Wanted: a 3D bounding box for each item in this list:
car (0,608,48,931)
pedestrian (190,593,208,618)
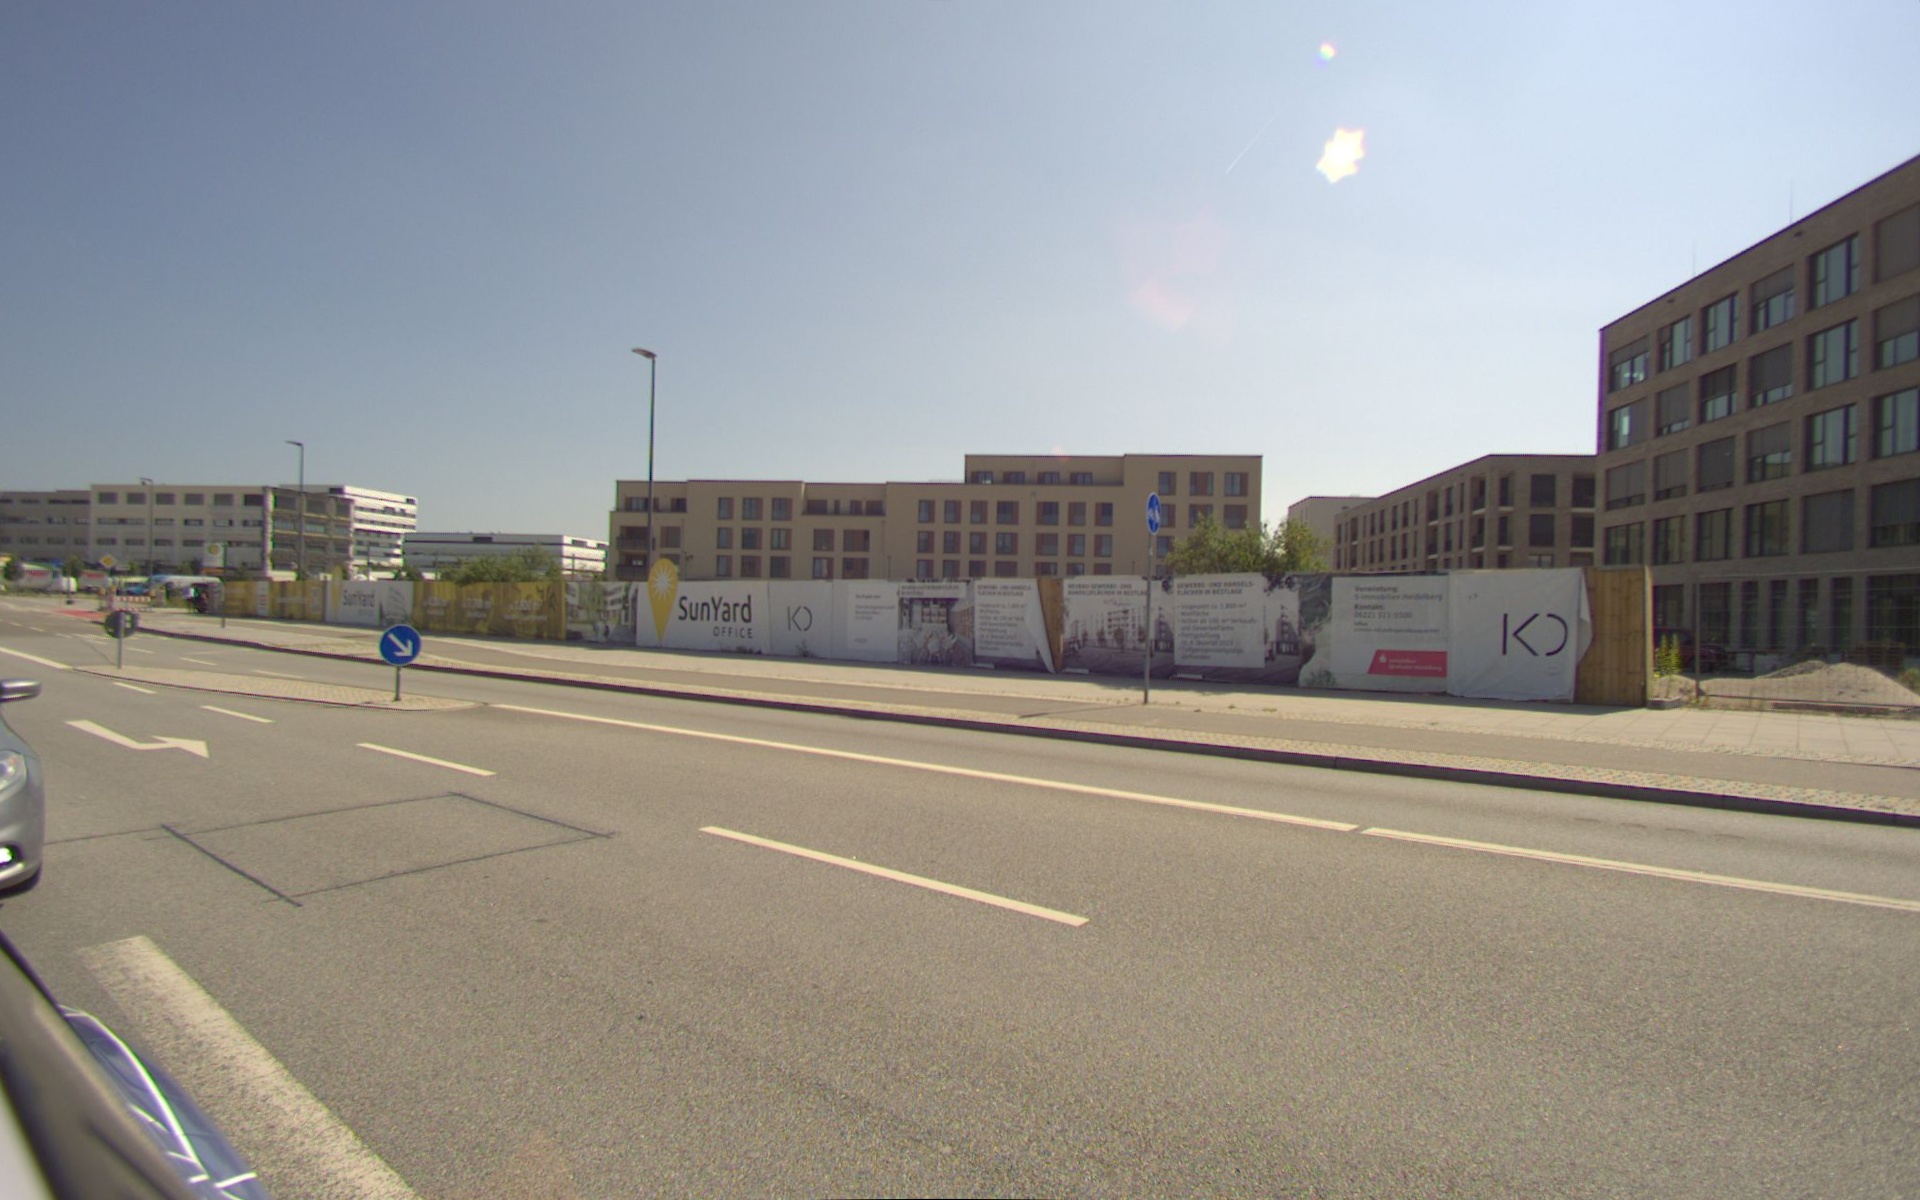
[{"bbox_3d":[-6.189,0.749,5.202,4.134,1.390,1.762,0,0,41],"label":"car"},{"bbox_3d":[-48.957,0.376,65.100,0.610,1.598,0.703,0,0,5],"label":"pedestrian"}]
